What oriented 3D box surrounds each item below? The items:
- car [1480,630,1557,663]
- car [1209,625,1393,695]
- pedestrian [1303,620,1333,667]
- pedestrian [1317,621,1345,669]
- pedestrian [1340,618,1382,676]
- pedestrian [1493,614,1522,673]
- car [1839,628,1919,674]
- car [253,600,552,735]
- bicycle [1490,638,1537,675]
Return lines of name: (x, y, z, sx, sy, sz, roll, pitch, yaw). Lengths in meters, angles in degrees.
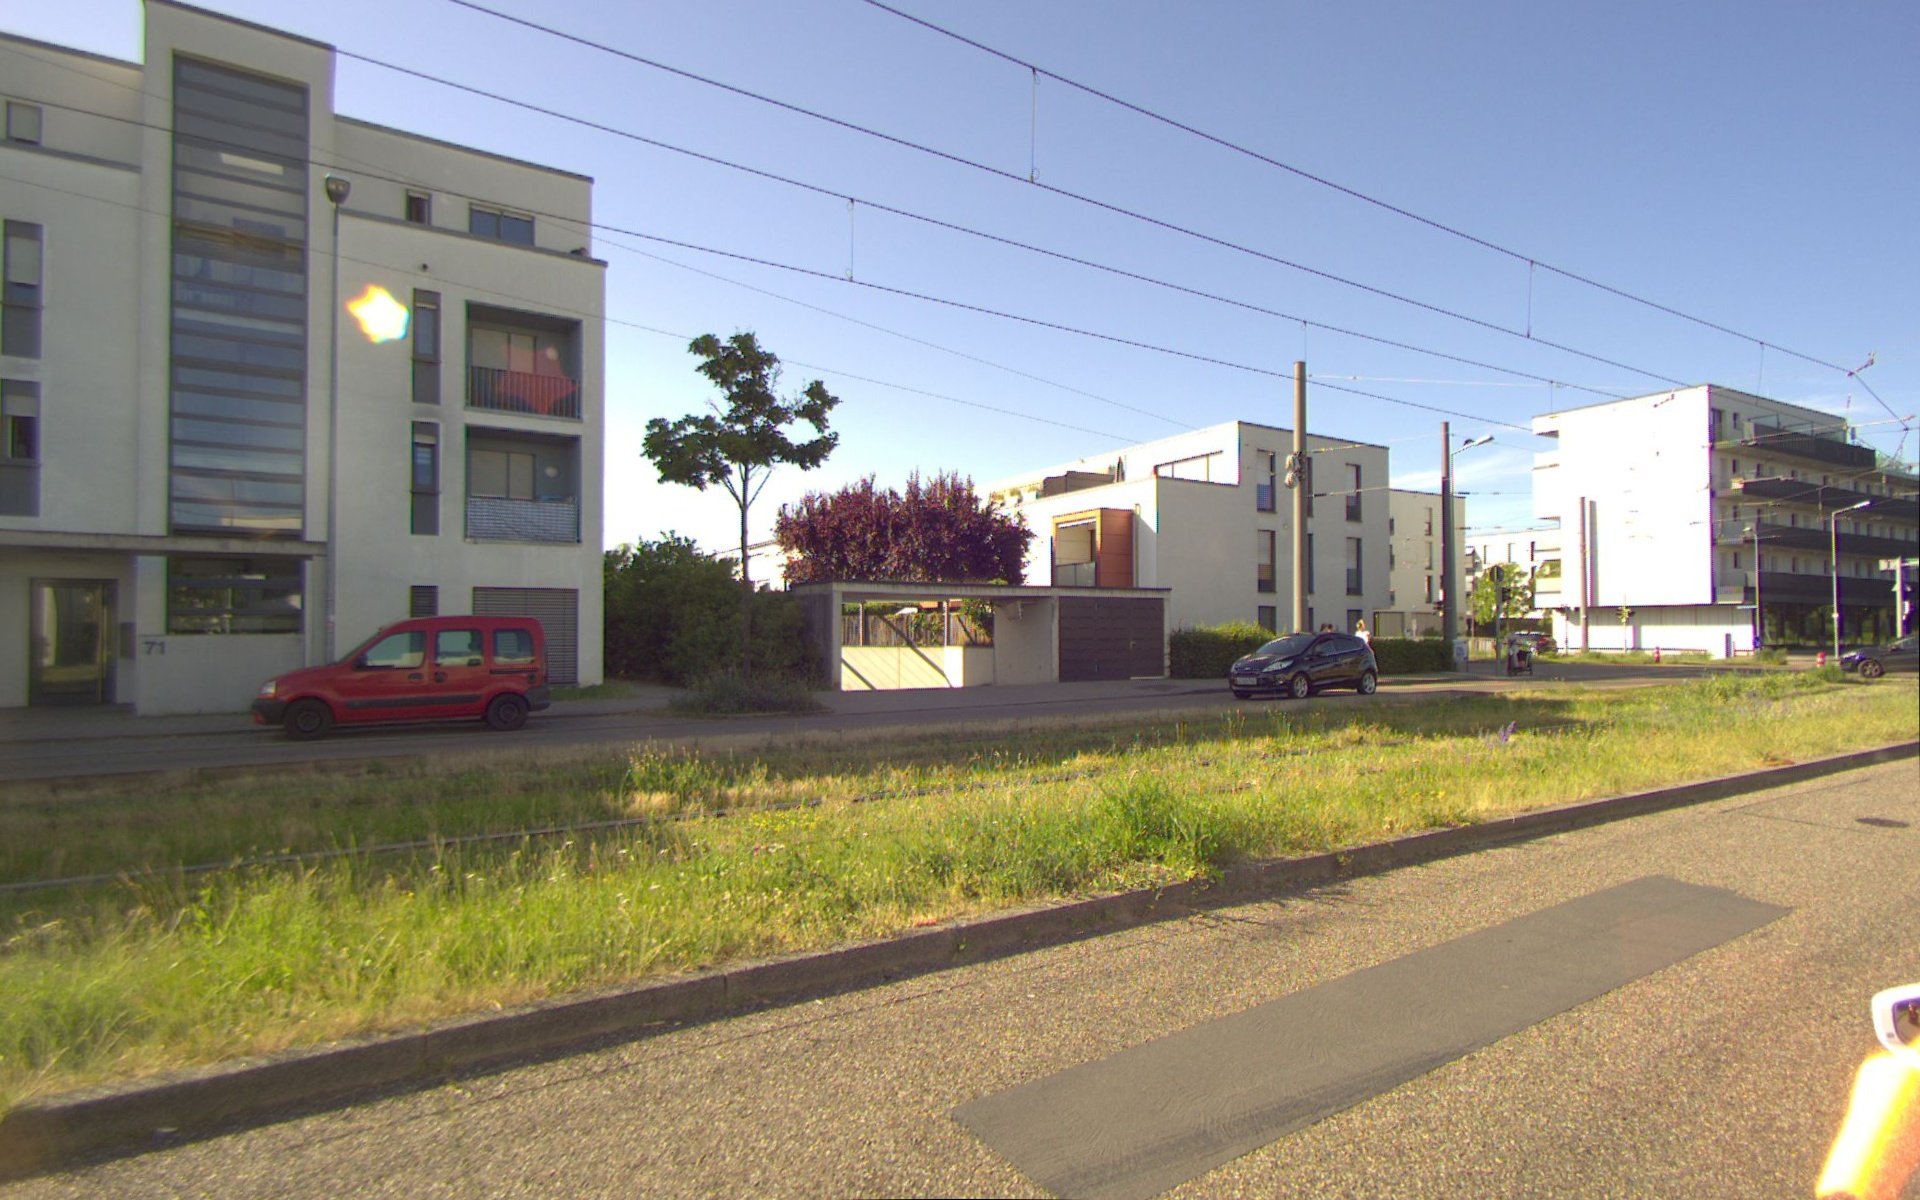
car: (36.052, 2.969, 64.896, 1.986, 2.040, 3.950, 1, -3, -43)
car: (7.648, 1.311, 22.436, 3.955, 1.437, 1.779, 1, -3, -32)
pedestrian: (11.442, 1.377, 32.128, 0.734, 1.483, 0.554, 1, 0, -30)
pedestrian: (11.686, 1.412, 31.664, 0.604, 1.483, 0.554, 1, 0, -30)
pedestrian: (12.614, 1.459, 31.583, 0.897, 1.771, 0.813, 1, 0, -27)
pedestrian: (19.626, 1.545, 35.994, 0.753, 2.040, 0.665, 1, 0, 45)
car: (30.898, 1.627, 32.313, 1.694, 1.449, 3.698, 1, -4, -39)
car: (-8.451, 0.941, 15.430, 3.795, 1.820, 1.871, 1, 0, -32)
bicycle: (20.144, 2.031, 36.538, 0.785, 1.238, 2.685, 1, 0, 45)
